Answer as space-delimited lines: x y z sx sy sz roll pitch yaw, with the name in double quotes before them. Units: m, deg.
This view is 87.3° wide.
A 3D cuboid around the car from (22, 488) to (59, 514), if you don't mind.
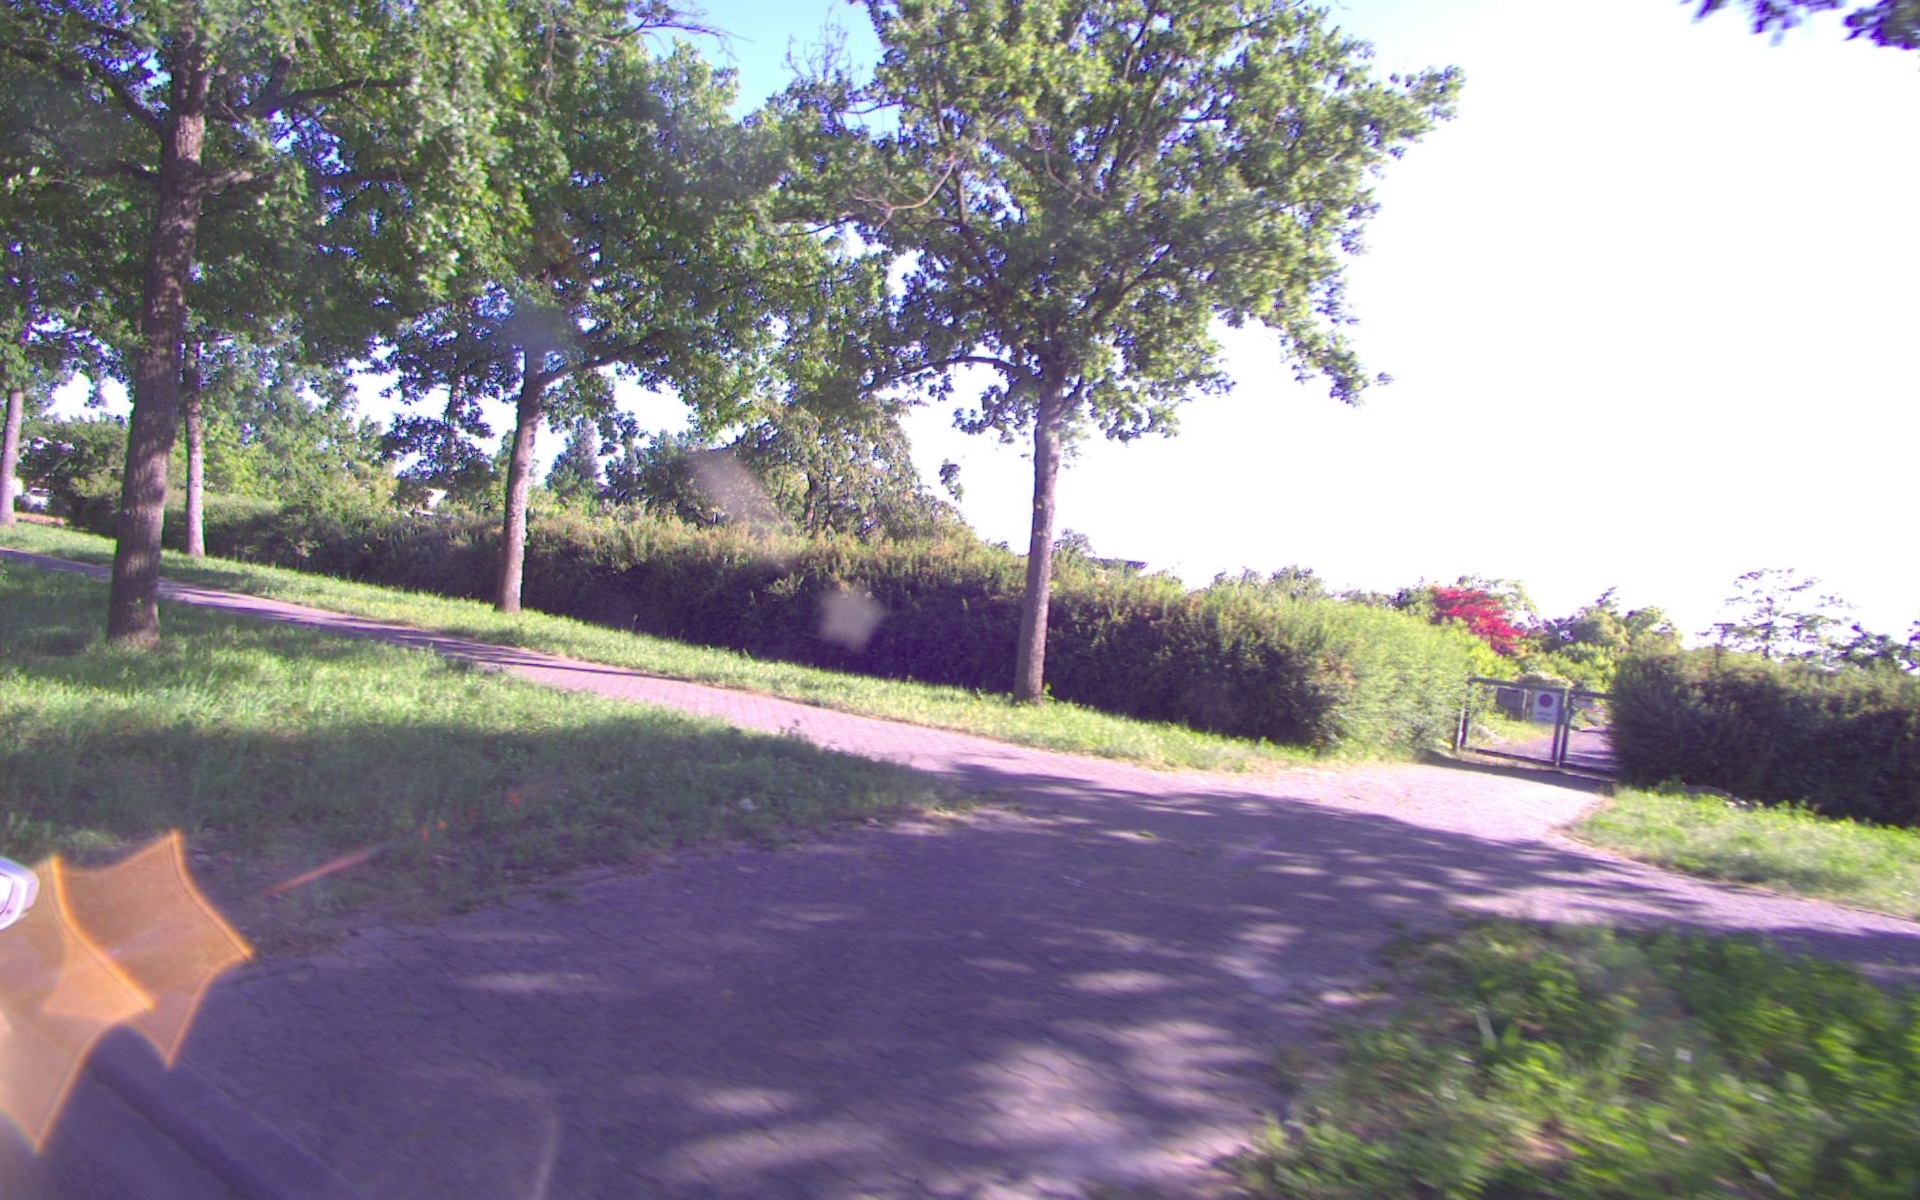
"car" -69.296 -7.460 75.813 1.829 1.660 3.949 6 0 -44
